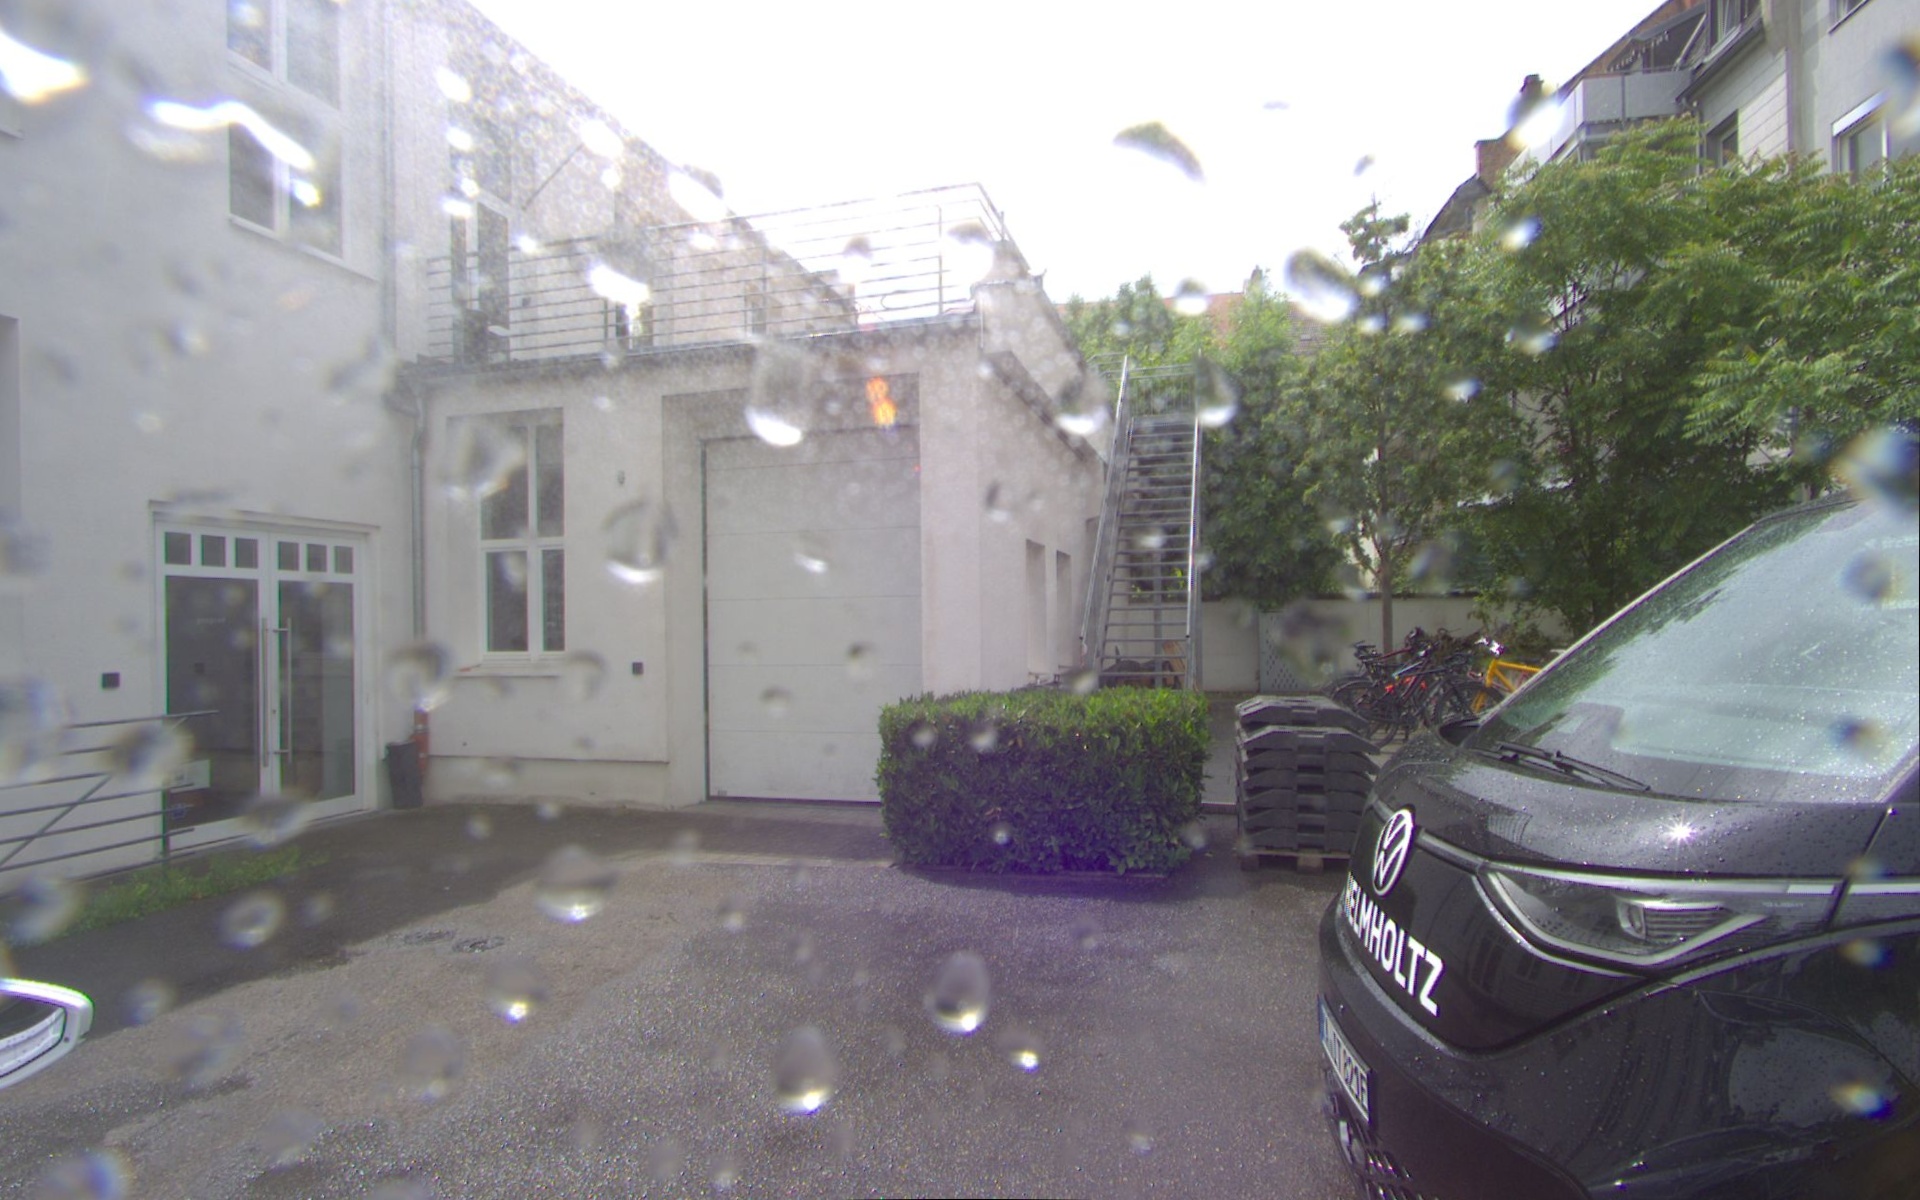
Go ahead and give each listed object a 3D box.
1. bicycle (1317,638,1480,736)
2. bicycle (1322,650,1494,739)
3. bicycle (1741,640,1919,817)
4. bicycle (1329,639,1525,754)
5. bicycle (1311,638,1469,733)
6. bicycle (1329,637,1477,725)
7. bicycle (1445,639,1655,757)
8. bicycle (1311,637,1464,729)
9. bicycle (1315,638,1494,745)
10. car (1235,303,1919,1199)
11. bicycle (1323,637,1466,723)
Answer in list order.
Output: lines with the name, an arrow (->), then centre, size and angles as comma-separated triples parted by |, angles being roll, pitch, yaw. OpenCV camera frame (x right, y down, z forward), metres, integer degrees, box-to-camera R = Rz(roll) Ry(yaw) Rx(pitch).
bicycle -> 5.148, 1.011, 11.803 | 1.722, 1.118, 0.333 | -1, 0, 10
bicycle -> 5.105, 1.069, 11.462 | 1.762, 0.980, 0.330 | -1, 0, 10
bicycle -> 6.615, 0.888, 7.493 | 0.438, 1.118, 1.795 | -3, -1, 13
bicycle -> 4.722, 0.961, 10.226 | 1.764, 1.118, 0.405 | -1, 0, 18
bicycle -> 5.190, 1.024, 12.152 | 1.722, 1.118, 0.342 | -1, 0, 10
bicycle -> 5.755, 1.049, 13.068 | 1.722, 1.118, 0.355 | -1, 0, 10
bicycle -> 5.849, 0.951, 10.009 | 1.764, 1.118, 0.366 | -1, 0, 18
bicycle -> 5.360, 1.036, 12.614 | 1.722, 1.118, 0.345 | -1, 0, 10
bicycle -> 4.858, 0.987, 11.025 | 1.764, 1.118, 0.354 | -1, 0, 18
car -> 3.087, 0.544, 1.956 | 4.657, 1.888, 1.971 | -2, -1, 9
bicycle -> 5.808, 1.061, 13.436 | 1.722, 1.118, 0.342 | -1, 0, 10
